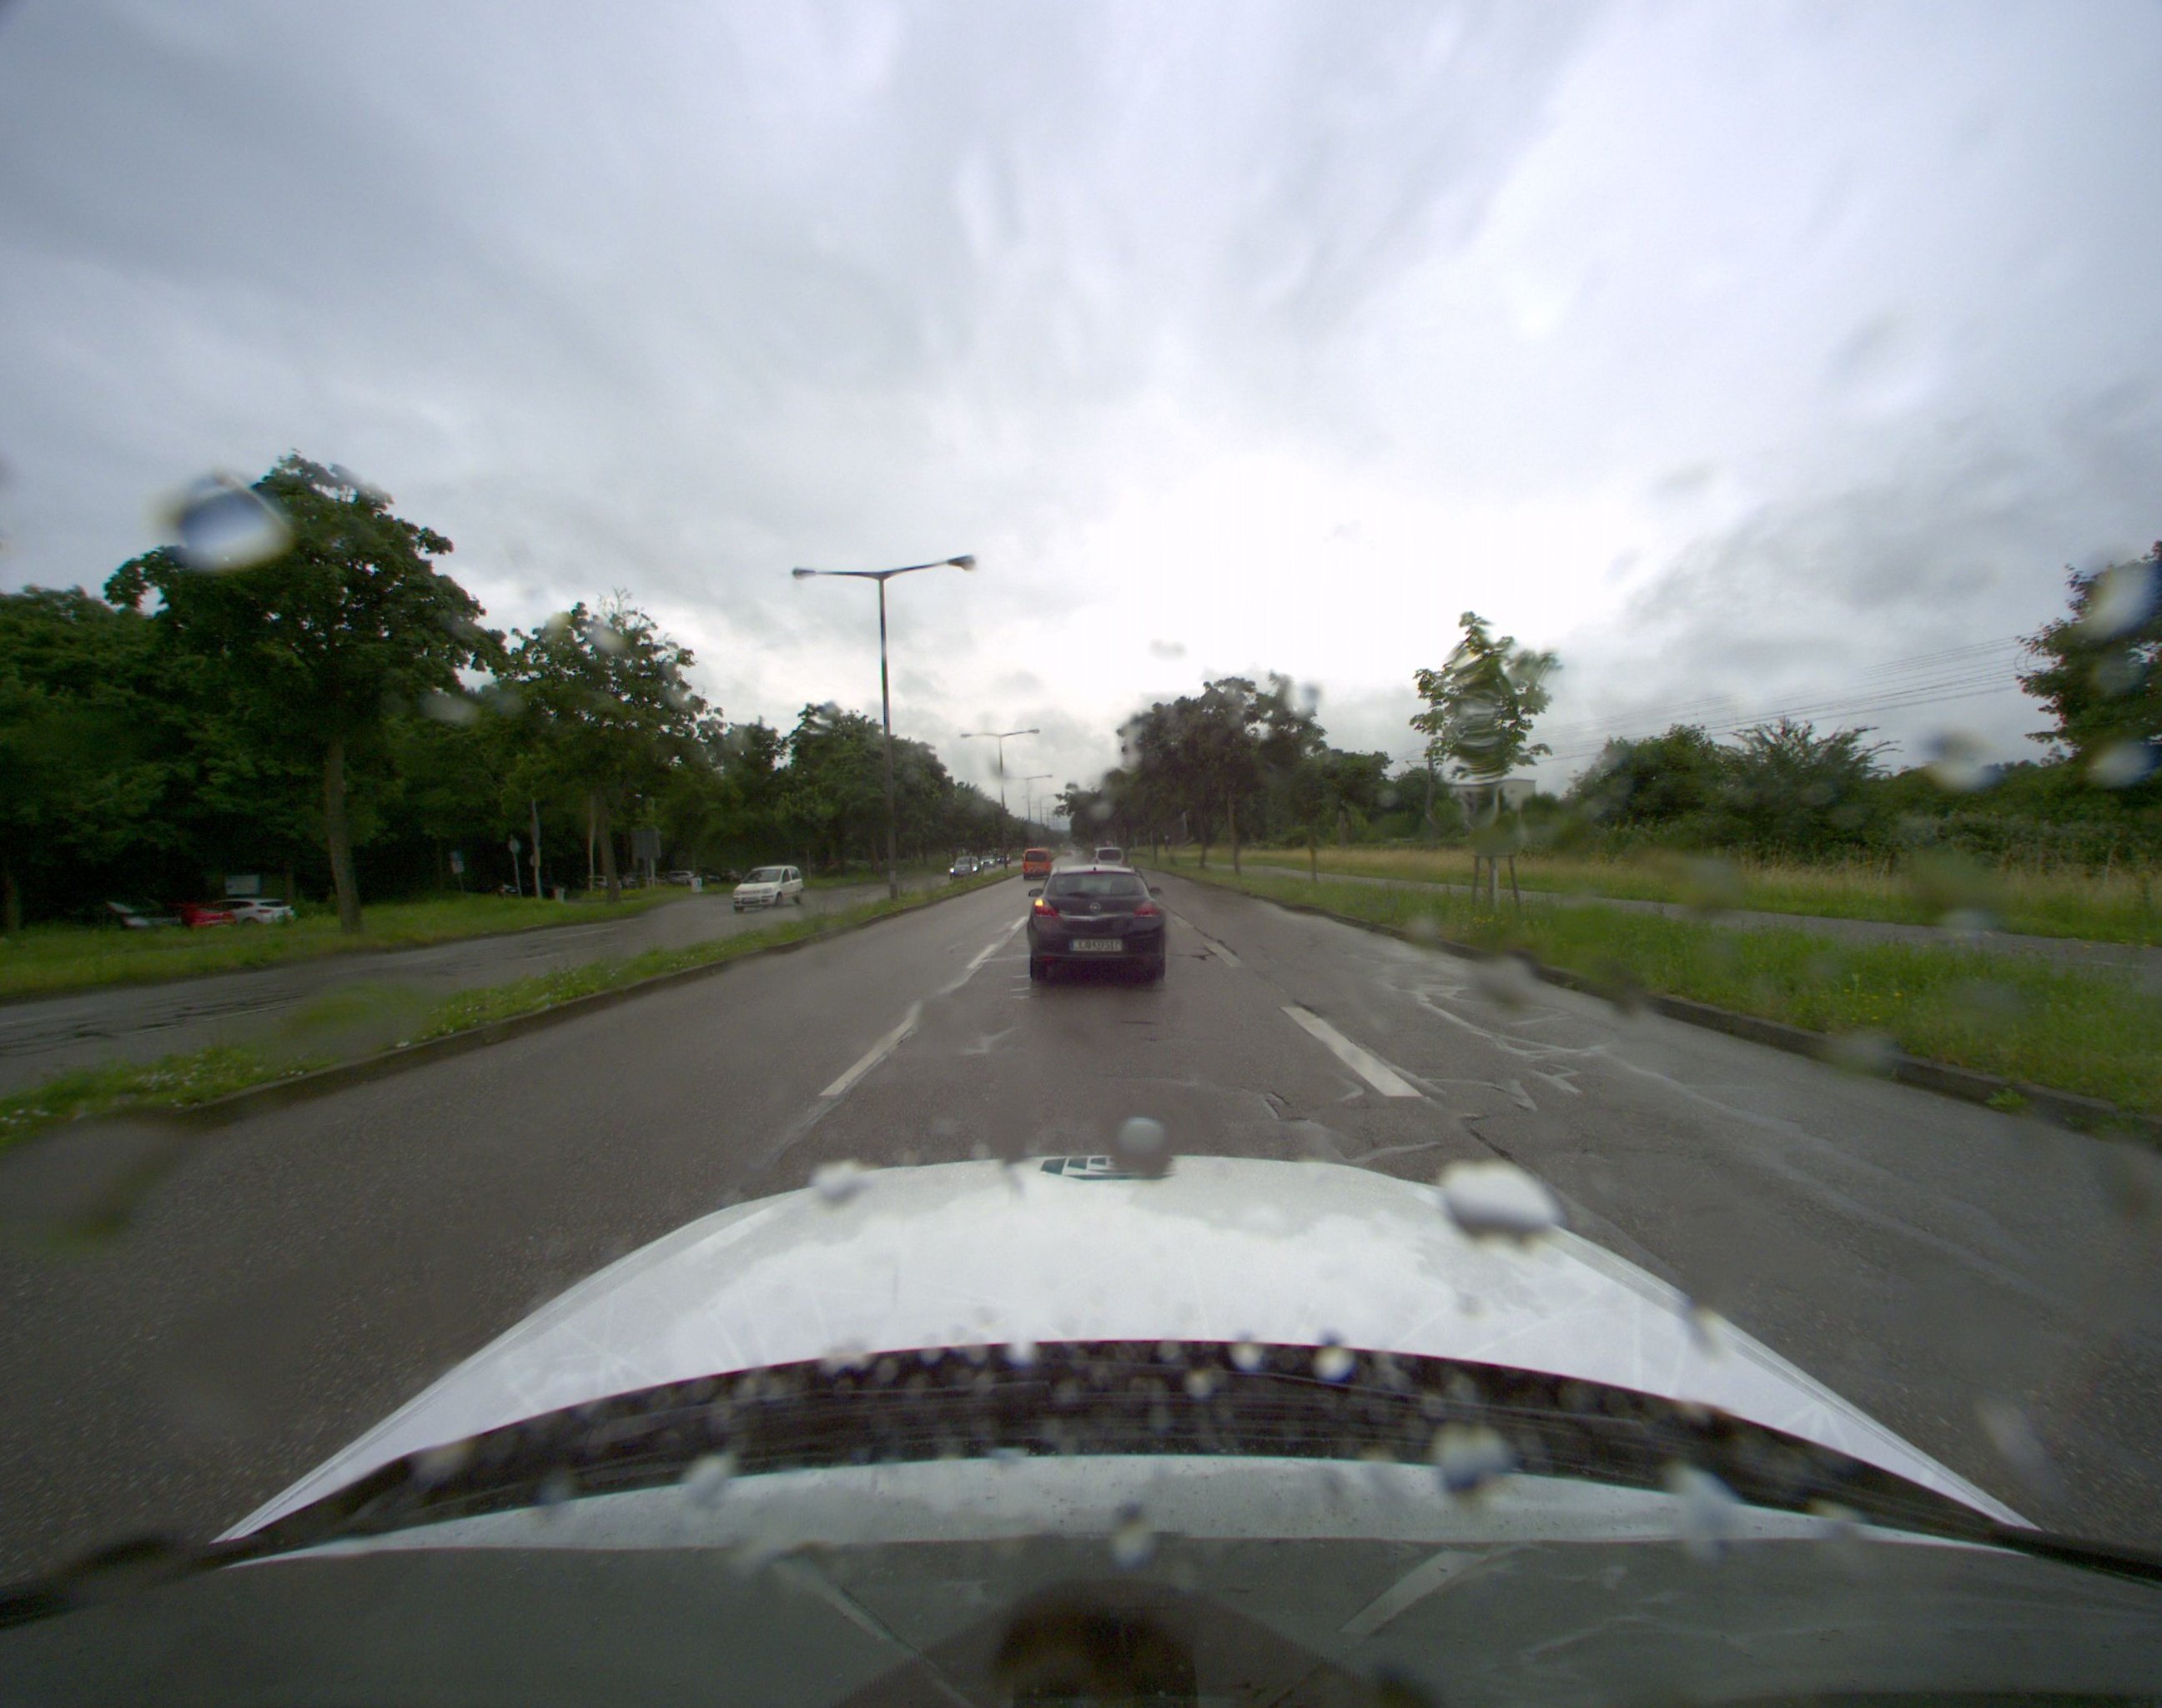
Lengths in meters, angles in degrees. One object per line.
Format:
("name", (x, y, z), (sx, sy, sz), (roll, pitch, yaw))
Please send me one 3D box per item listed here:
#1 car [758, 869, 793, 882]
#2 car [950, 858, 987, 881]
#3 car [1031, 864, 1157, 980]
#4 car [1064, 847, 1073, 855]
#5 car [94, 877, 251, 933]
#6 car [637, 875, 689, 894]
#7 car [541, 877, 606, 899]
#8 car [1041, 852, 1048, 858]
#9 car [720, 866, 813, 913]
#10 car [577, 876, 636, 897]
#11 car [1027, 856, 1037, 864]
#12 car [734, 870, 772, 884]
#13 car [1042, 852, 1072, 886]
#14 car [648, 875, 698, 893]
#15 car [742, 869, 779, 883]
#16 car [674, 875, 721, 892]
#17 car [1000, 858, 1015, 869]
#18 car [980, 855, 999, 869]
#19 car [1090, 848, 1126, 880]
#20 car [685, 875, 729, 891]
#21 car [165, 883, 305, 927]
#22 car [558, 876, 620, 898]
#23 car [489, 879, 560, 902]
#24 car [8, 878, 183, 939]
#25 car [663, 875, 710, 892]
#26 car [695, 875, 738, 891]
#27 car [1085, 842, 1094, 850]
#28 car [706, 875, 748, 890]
("car", (-38.004, 2.676, 101.411), (3.841, 1.452, 1.517), (-2, 0, -15))
("car", (-7.557, 1.013, 55.072), (1.821, 1.450, 3.810), (-2, 0, 1))
("car", (0.268, 0.827, 11.433), (1.457, 1.329, 3.761), (-1, -1, 4))
("car", (-3.029, -0.625, 202.462), (1.985, 1.879, 4.004), (-1, -1, 4))
("car", (-37.426, 2.075, 33.648), (3.979, 2.013, 1.997), (-2, 0, -4))
("car", (-38.102, 2.775, 74.338), (3.828, 1.452, 1.522), (-2, 0, -4))
("car", (-38.261, 2.560, 61.418), (3.828, 1.452, 1.522), (-2, 0, -4))
("car", (-9.818, 0.208, 219.754), (1.714, 1.529, 3.810), (-2, 0, 1))
("car", (-11.392, 1.236, 29.830), (1.676, 1.554, 4.003), (-1, -1, 3))
("car", (-38.713, 2.636, 66.537), (3.828, 1.452, 1.522), (-2, 0, -4))
("car", (-10.263, 1.212, 170.413), (1.714, 1.529, 3.810), (-2, 0, 1))
("car", (-37.992, 2.681, 94.451), (3.837, 1.452, 1.519), (-2, 0, -11))
("car", (-1.518, 0.910, 50.779), (1.730, 2.019, 4.844), (1, -1, -3))
("car", (-38.398, 2.827, 76.754), (3.828, 1.452, 1.522), (-2, 0, -4))
("car", (-38.105, 2.634, 96.821), (3.841, 1.452, 1.517), (-2, 0, -15))
("car", (-38.445, 2.952, 81.691), (3.828, 1.452, 1.522), (-2, 0, -4))
("car", (-11.063, 1.390, 122.203), (1.714, 1.529, 3.810), (-2, 0, 1))
("car", (-10.922, 0.921, 97.868), (1.714, 1.529, 3.810), (-2, 1, 1))
("car", (1.738, 0.656, 53.093), (2.053, 1.974, 4.605), (-1, -1, -2))
("car", (-38.636, 3.001, 84.159), (3.828, 1.452, 1.522), (-2, 0, -4))
("car", (-37.376, 2.228, 36.088), (3.979, 1.640, 1.909), (-2, 0, -4))
("car", (-38.550, 2.581, 63.859), (3.828, 1.452, 1.522), (-2, 0, -4))
("car", (-38.358, 2.504, 56.220), (3.727, 1.426, 1.486), (-2, 0, -4))
("car", (-37.499, 2.052, 31.084), (3.979, 2.013, 1.997), (-2, 0, -4))
("car", (-38.422, 2.891, 79.361), (3.828, 1.452, 1.522), (-2, 0, -4))
("car", (-38.843, 3.056, 86.746), (3.828, 1.452, 1.522), (-2, 0, -4))
("car", (2.242, -1.993, 213.552), (2.507, 2.052, 5.293), (1, 0, 0))
("car", (-38.721, 3.104, 89.156), (3.828, 1.452, 1.522), (-2, 0, -4))
